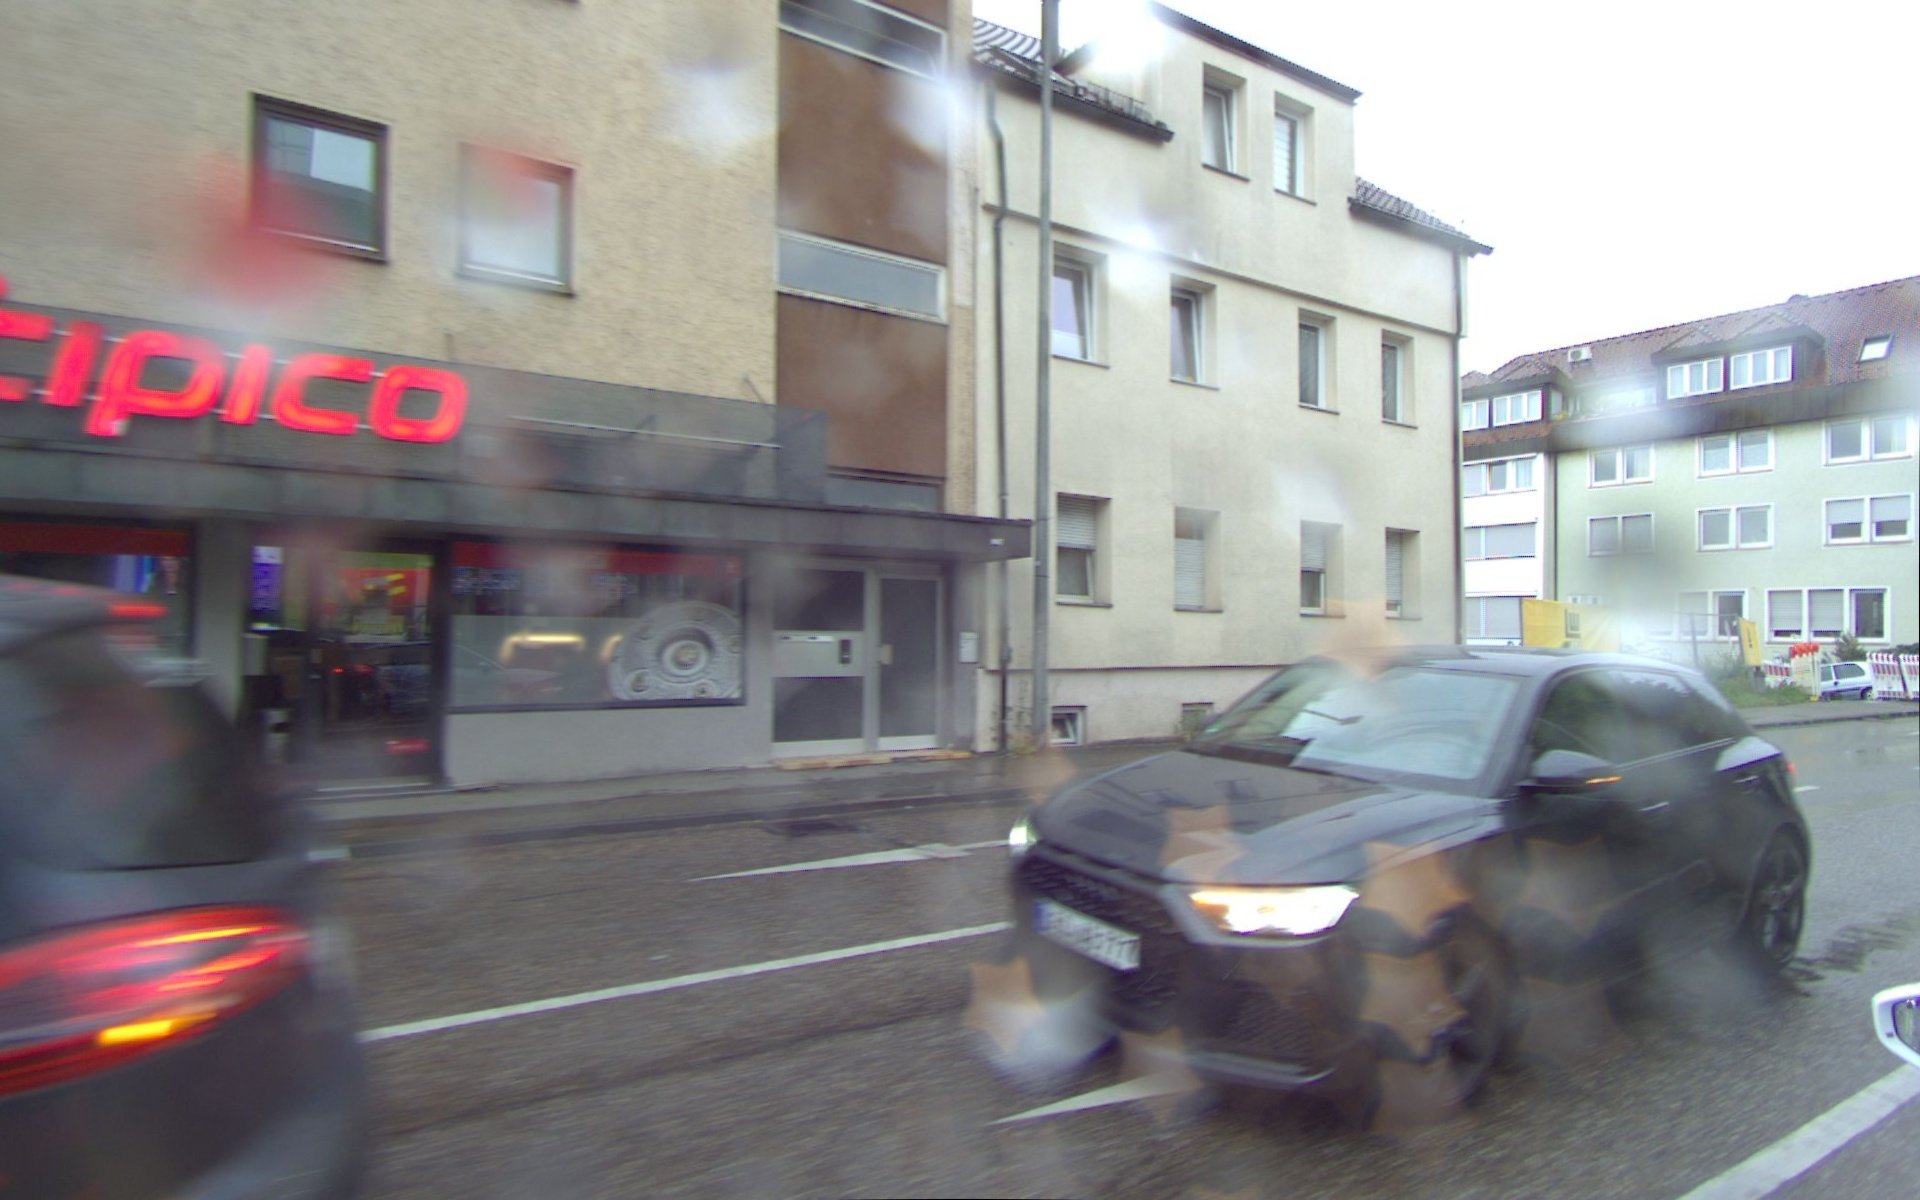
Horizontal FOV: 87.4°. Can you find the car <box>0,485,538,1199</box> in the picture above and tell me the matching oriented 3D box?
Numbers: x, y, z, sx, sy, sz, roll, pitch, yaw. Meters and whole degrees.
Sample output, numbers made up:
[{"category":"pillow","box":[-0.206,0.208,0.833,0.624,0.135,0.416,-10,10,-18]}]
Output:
[{"category":"car","box":[-2.919,0.628,1.041,4.353,1.583,1.775,2,-1,-32]}]

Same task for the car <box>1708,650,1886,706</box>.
[{"category":"car","box":[26.280,2.478,31.632,1.780,1.404,3.976,-1,-7,-42]}]

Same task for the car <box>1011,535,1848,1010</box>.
[{"category":"car","box":[2.293,0.551,4.591,3.909,1.352,1.608,2,-1,-32]}]
